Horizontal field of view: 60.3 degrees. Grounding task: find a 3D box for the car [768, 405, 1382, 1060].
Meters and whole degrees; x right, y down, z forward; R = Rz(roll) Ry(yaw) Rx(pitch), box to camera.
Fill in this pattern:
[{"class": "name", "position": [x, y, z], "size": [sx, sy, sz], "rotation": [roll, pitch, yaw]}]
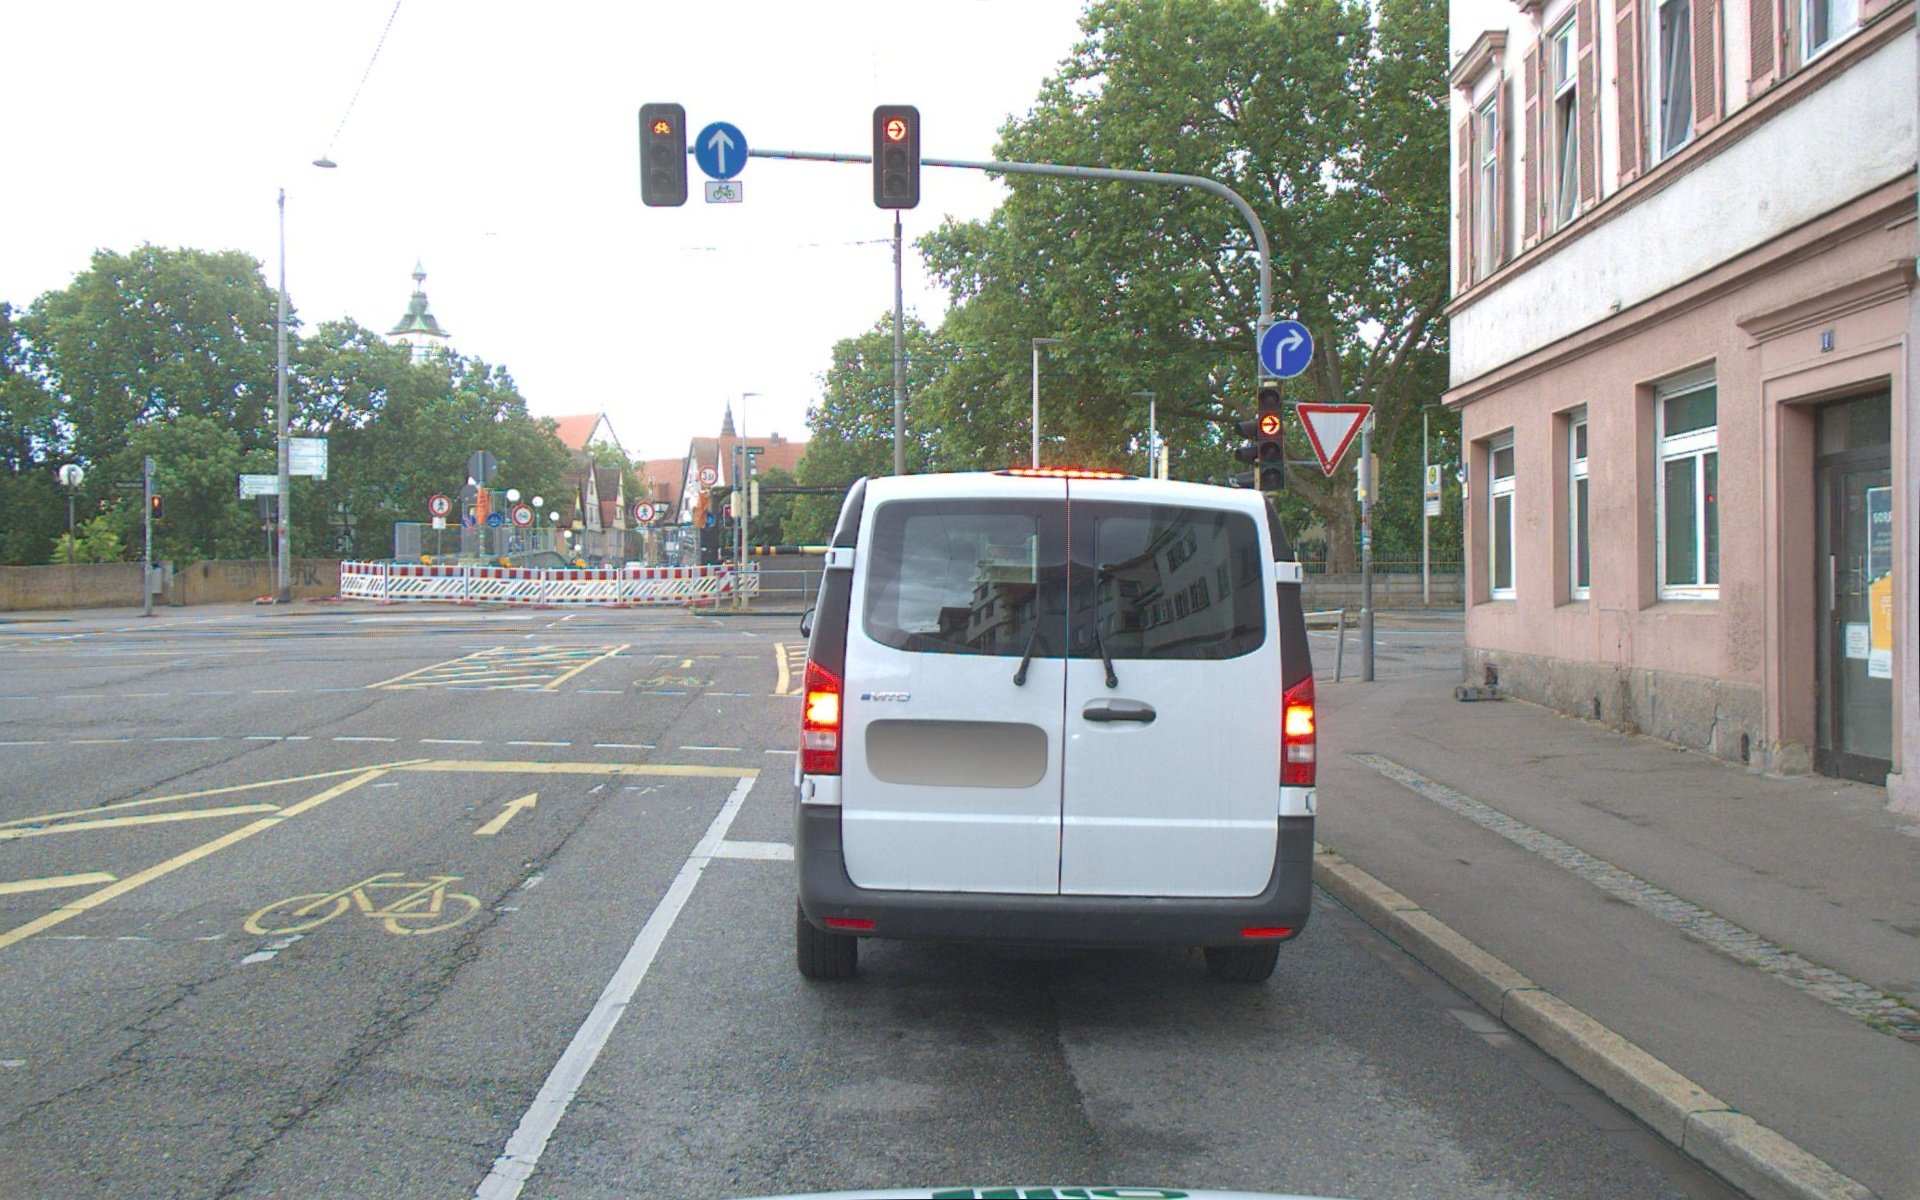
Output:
[{"class": "car", "position": [0.330, 0.360, 7.582], "size": [1.911, 2.048, 4.698], "rotation": [1, 2, -1]}]
